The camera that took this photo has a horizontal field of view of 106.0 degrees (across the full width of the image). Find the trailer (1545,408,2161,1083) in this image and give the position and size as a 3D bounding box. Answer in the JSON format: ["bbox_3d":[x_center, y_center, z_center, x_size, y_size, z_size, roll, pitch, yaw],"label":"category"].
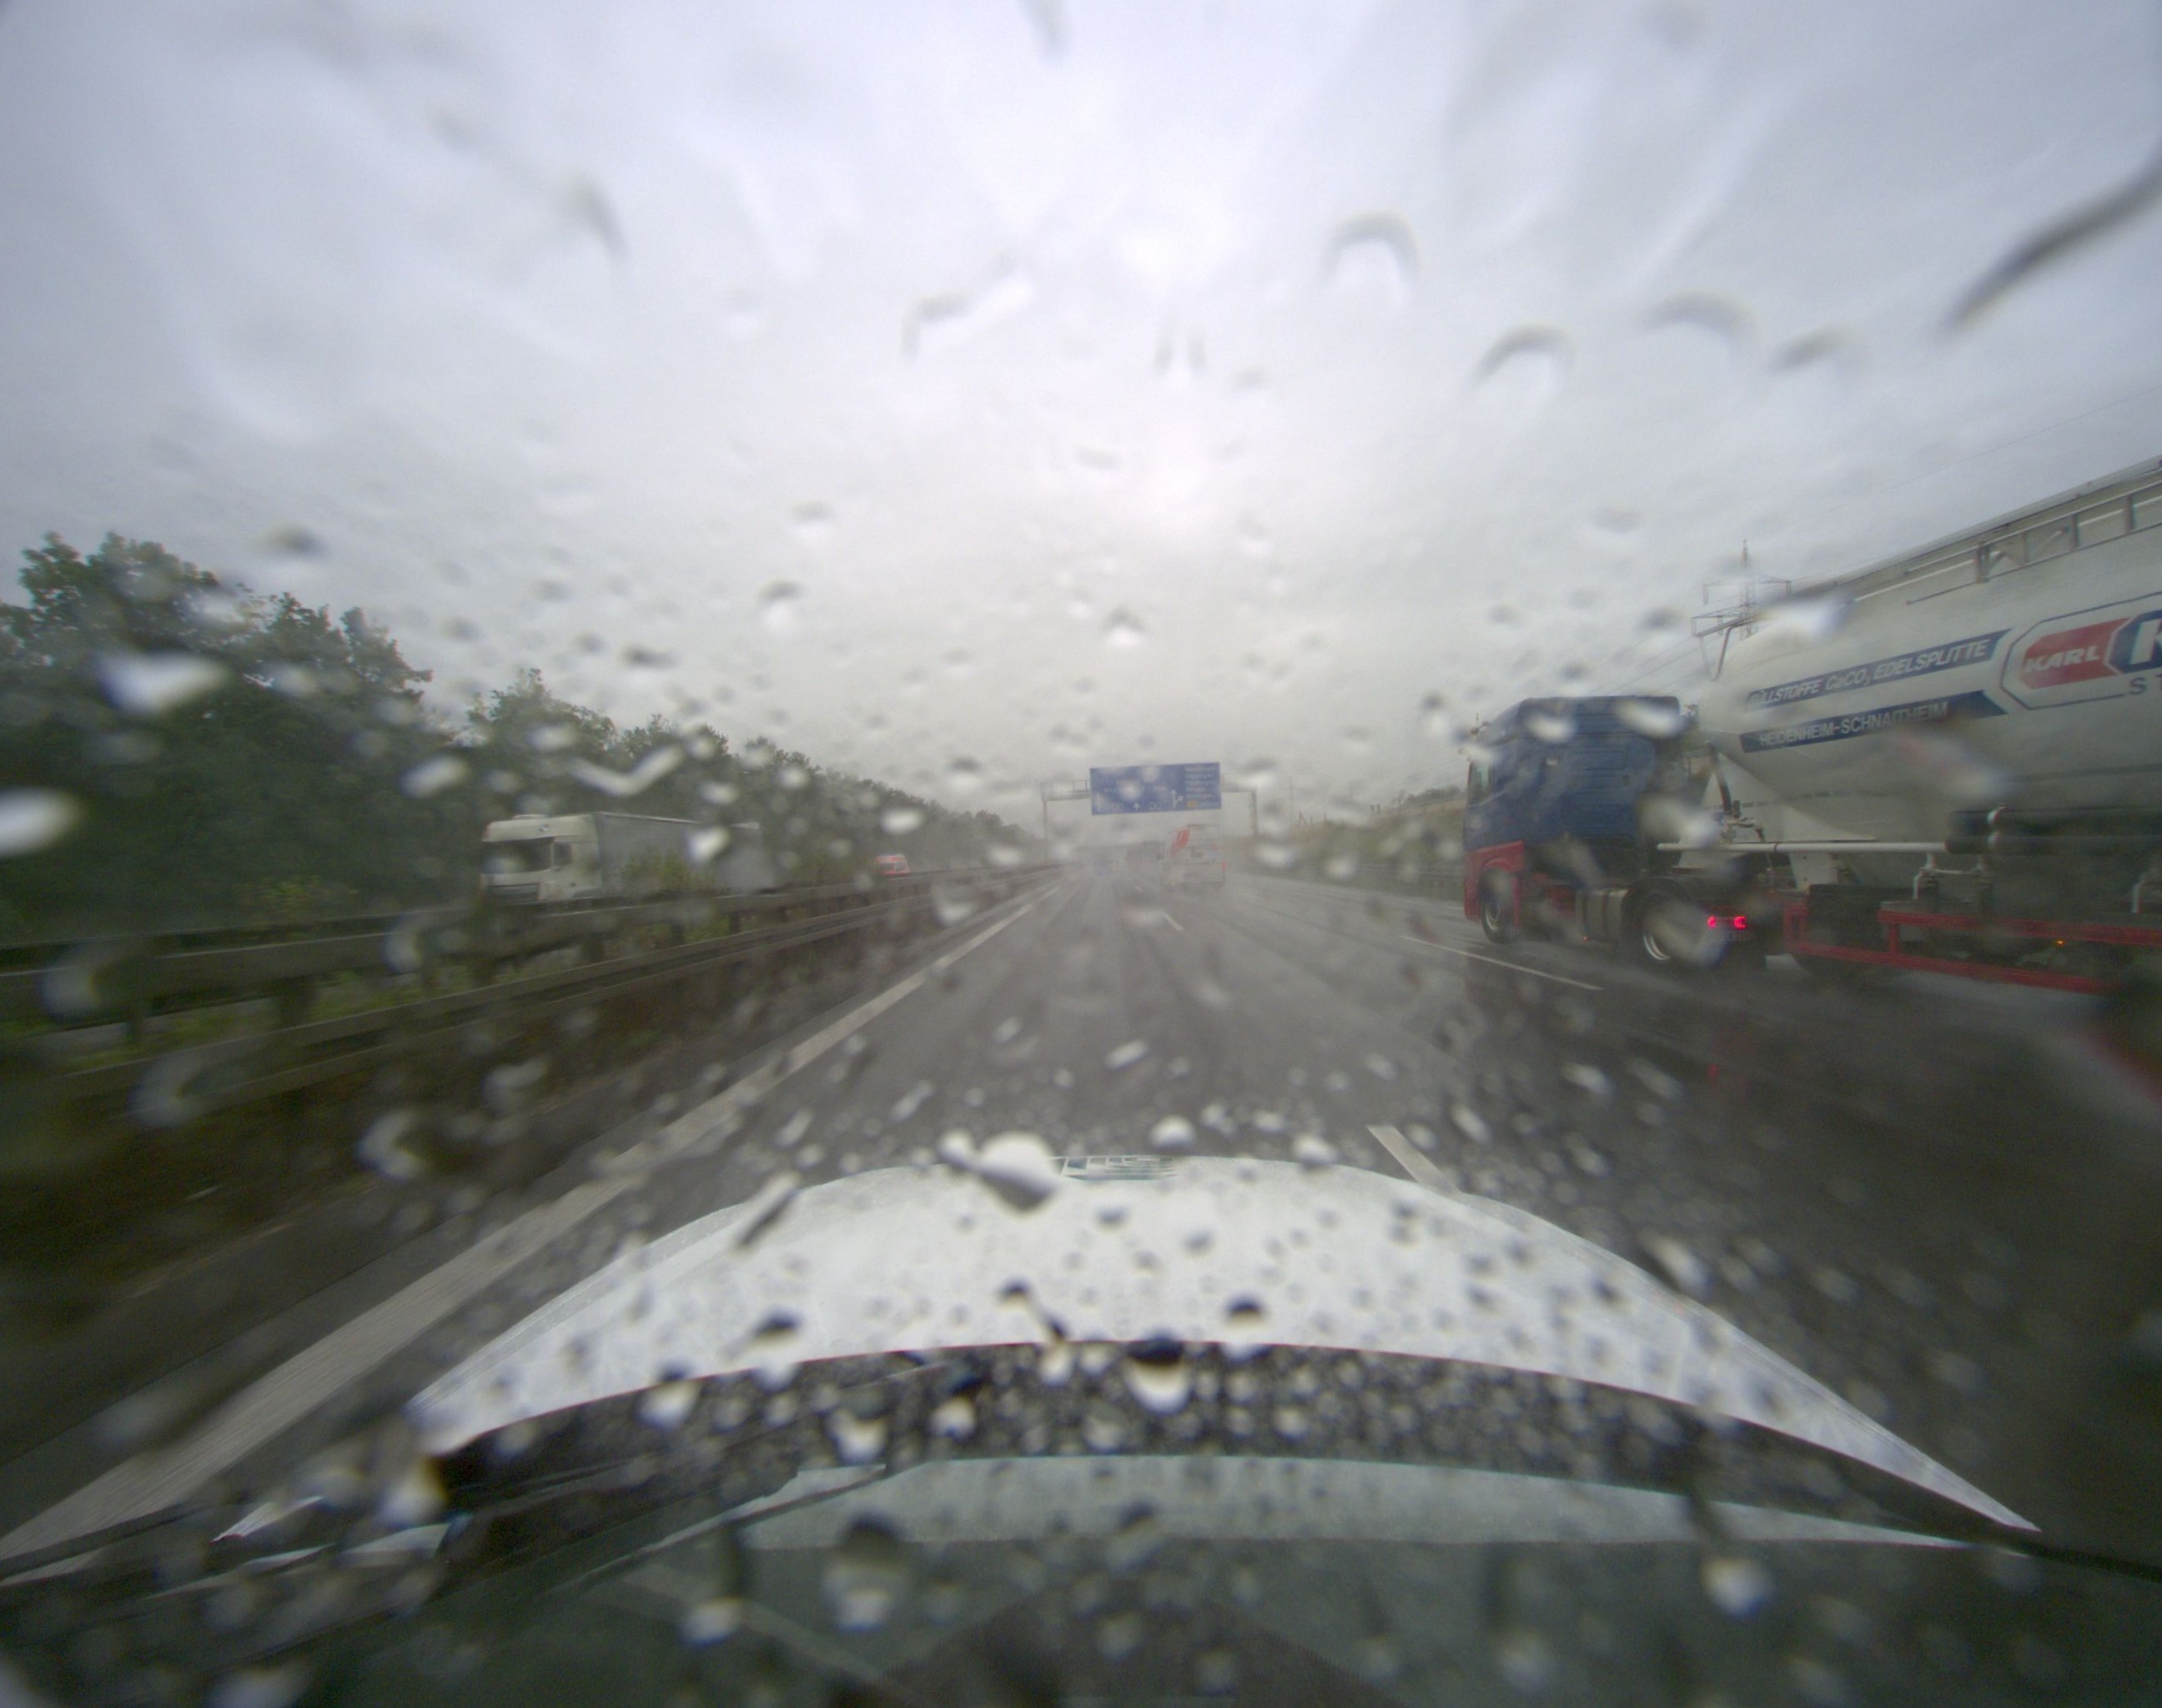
[{"bbox_3d":[7.487,-0.645,5.605,2.488,3.882,11.069,-1,1,1],"label":"trailer"}]

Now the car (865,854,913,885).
[{"bbox_3d":[-13.253,1.040,56.534,1.987,1.985,5.015,-1,1,1],"label":"car"}]

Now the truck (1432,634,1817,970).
[{"bbox_3d":[7.593,-0.650,12.284,2.488,3.983,5.077,-1,0,1],"label":"truck"}]

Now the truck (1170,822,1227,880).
[{"bbox_3d":[10.278,-0.171,73.461,3.029,4.588,16.353,-1,0,1],"label":"truck"}]

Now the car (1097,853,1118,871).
[{"bbox_3d":[2.105,0.619,65.306,1.599,1.338,3.850,-1,1,2],"label":"car"}]

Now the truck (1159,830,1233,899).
[{"bbox_3d":[4.509,0.354,32.776,2.410,2.492,5.563,-1,1,2],"label":"truck"}]

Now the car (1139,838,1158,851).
[{"bbox_3d":[10.978,-1.587,132.293,2.778,2.013,4.995,-1,1,2],"label":"car"}]

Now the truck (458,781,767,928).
[{"bbox_3d":[-18.304,-0.079,34.661,2.955,4.674,17.102,-1,1,1],"label":"truck"}]
